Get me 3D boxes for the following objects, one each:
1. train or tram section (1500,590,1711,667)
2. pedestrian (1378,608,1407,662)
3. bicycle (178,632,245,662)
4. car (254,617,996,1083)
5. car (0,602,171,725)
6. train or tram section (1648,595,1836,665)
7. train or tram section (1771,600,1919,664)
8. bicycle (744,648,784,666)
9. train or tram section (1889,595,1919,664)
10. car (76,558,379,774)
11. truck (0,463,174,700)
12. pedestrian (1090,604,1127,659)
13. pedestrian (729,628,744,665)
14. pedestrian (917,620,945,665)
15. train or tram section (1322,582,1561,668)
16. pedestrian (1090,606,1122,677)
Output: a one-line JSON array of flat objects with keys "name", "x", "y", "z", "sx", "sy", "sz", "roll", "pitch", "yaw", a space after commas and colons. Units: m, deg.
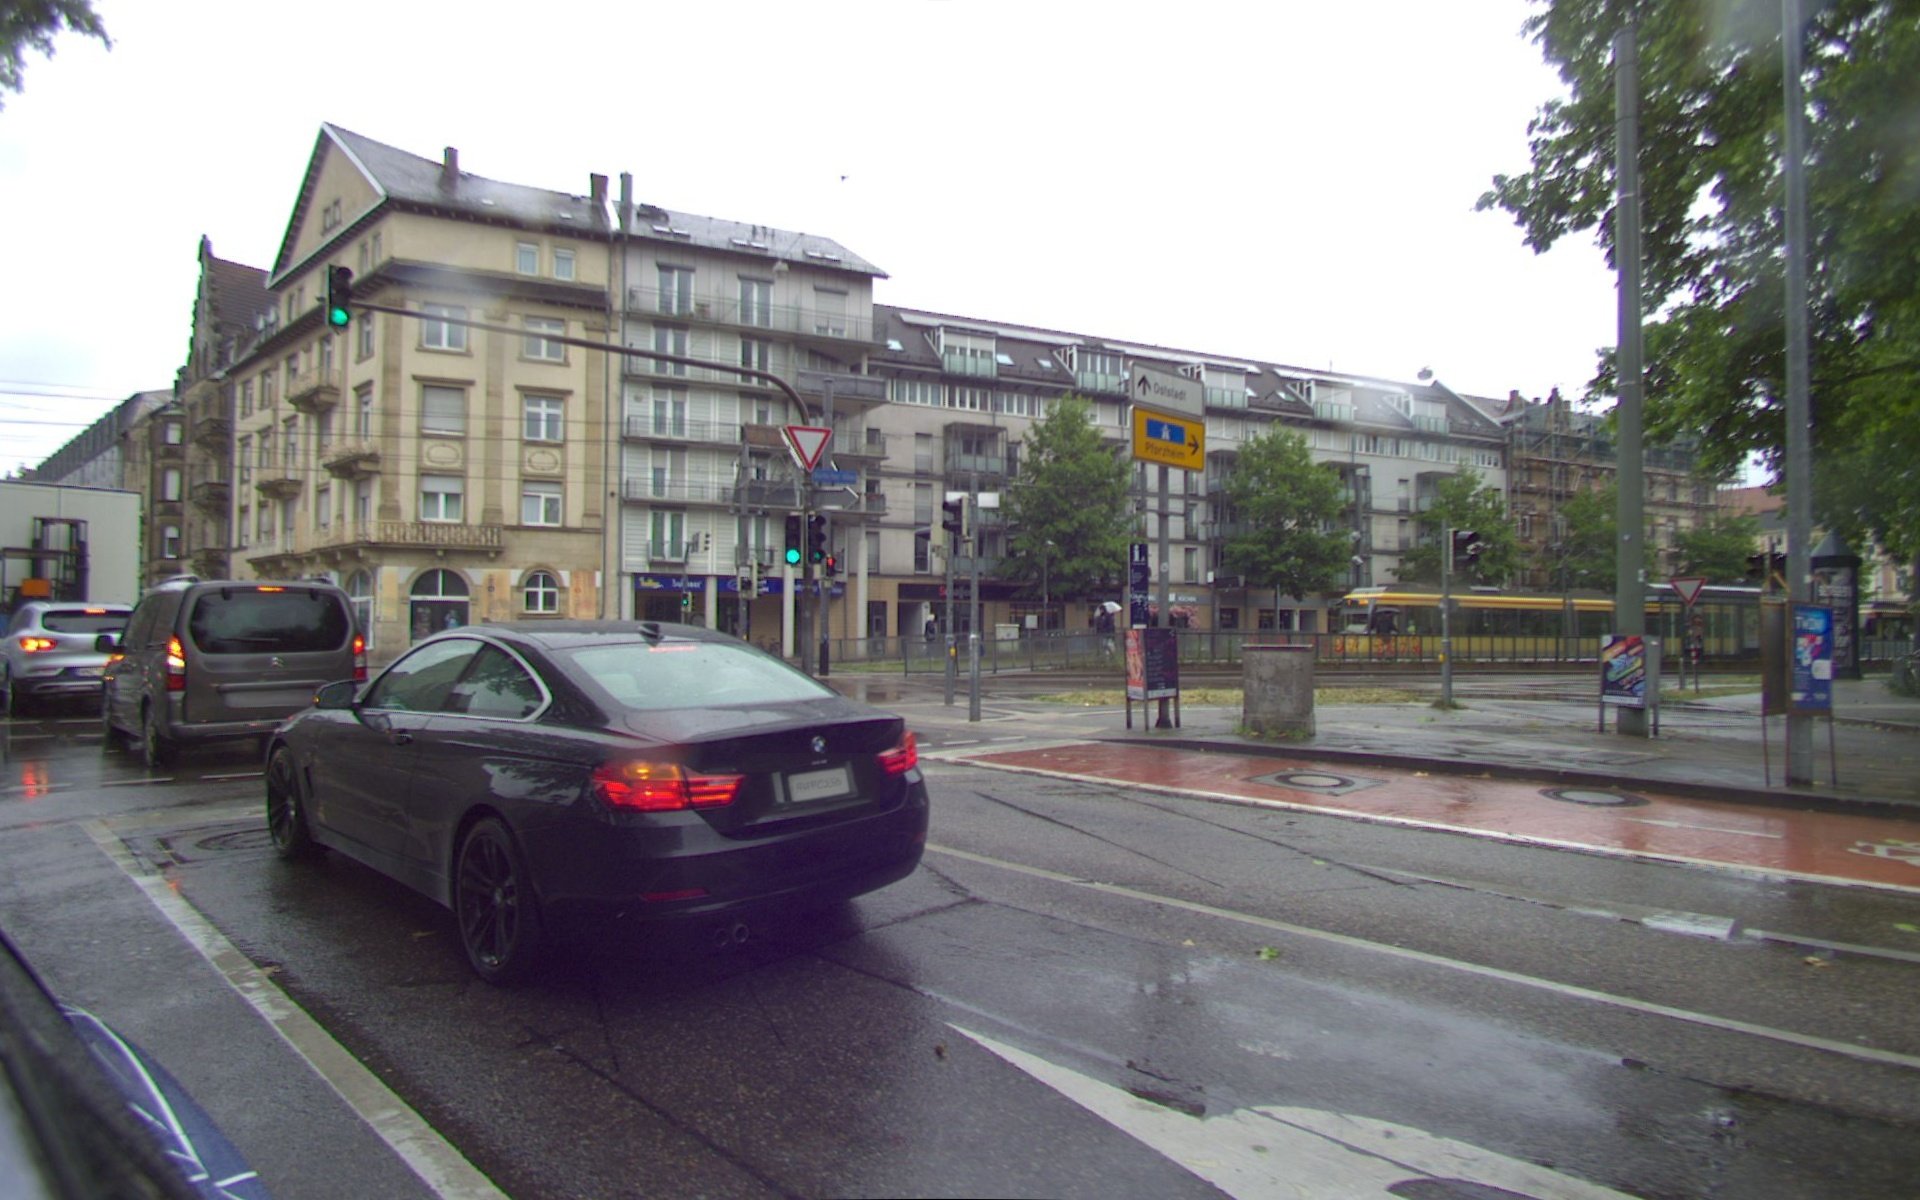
[{"name": "train or tram section", "x": 32.181, "y": 1.476, "z": 50.306, "sx": 11.376, "sy": 3.531, "sz": 3.082, "roll": 2, "pitch": -2, "yaw": -24}, {"name": "pedestrian", "x": 15.139, "y": 1.226, "z": 35.470, "sx": 0.667, "sy": 1.852, "sz": 0.642, "roll": 2, "pitch": -3, "yaw": -25}, {"name": "bicycle", "x": -34.119, "y": 2.138, "z": 46.159, "sx": 0.639, "sy": 1.356, "sz": 2.319, "roll": -2, "pitch": -3, "yaw": 36}, {"name": "car", "x": -2.028, "y": 0.799, "z": 5.219, "sx": 4.362, "sy": 1.400, "sz": 1.724, "roll": 0, "pitch": -1, "yaw": 42}, {"name": "car", "x": -13.477, "y": 0.906, "z": 15.317, "sx": 3.999, "sy": 1.616, "sz": 1.724, "roll": -1, "pitch": -3, "yaw": 42}, {"name": "train or tram section", "x": 42.536, "y": 1.688, "z": 54.933, "sx": 11.376, "sy": 3.531, "sz": 3.082, "roll": 2, "pitch": -2, "yaw": -24}, {"name": "train or tram section", "x": 52.889, "y": 1.956, "z": 59.633, "sx": 11.376, "sy": 3.531, "sz": 3.082, "roll": 2, "pitch": -2, "yaw": -24}, {"name": "bicycle", "x": -9.853, "y": 2.865, "z": 51.005, "sx": 1.894, "sy": 0.873, "sz": 0.583, "roll": 1, "pitch": -3, "yaw": -22}, {"name": "train or tram section", "x": 54.522, "y": 1.665, "z": 53.987, "sx": 11.376, "sy": 3.531, "sz": 3.082, "roll": 2, "pitch": -2, "yaw": -24}, {"name": "car", "x": -7.954, "y": 0.641, "z": 10.848, "sx": 4.108, "sy": 1.876, "sz": 1.787, "roll": -1, "pitch": -3, "yaw": 42}, {"name": "truck", "x": -19.841, "y": -0.180, "z": 21.420, "sx": 10.307, "sy": 4.056, "sz": 2.817, "roll": -1, "pitch": -4, "yaw": 40}, {"name": "pedestrian", "x": 4.623, "y": 0.985, "z": 31.518, "sx": 0.803, "sy": 1.661, "sz": 0.796, "roll": 2, "pitch": -3, "yaw": -25}, {"name": "pedestrian", "x": -10.743, "y": 2.239, "z": 48.670, "sx": 0.601, "sy": 1.794, "sz": 0.501, "roll": 1, "pitch": -3, "yaw": -24}, {"name": "pedestrian", "x": -1.088, "y": 1.609, "z": 38.041, "sx": 0.743, "sy": 1.661, "sz": 0.840, "roll": 3, "pitch": -3, "yaw": -28}, {"name": "train or tram section", "x": 21.795, "y": 1.222, "z": 45.596, "sx": 11.376, "sy": 3.531, "sz": 3.082, "roll": 2, "pitch": -2, "yaw": -24}, {"name": "pedestrian", "x": 4.394, "y": 1.246, "z": 30.475, "sx": 0.690, "sy": 2.093, "sz": 0.639, "roll": 2, "pitch": -3, "yaw": -29}]
